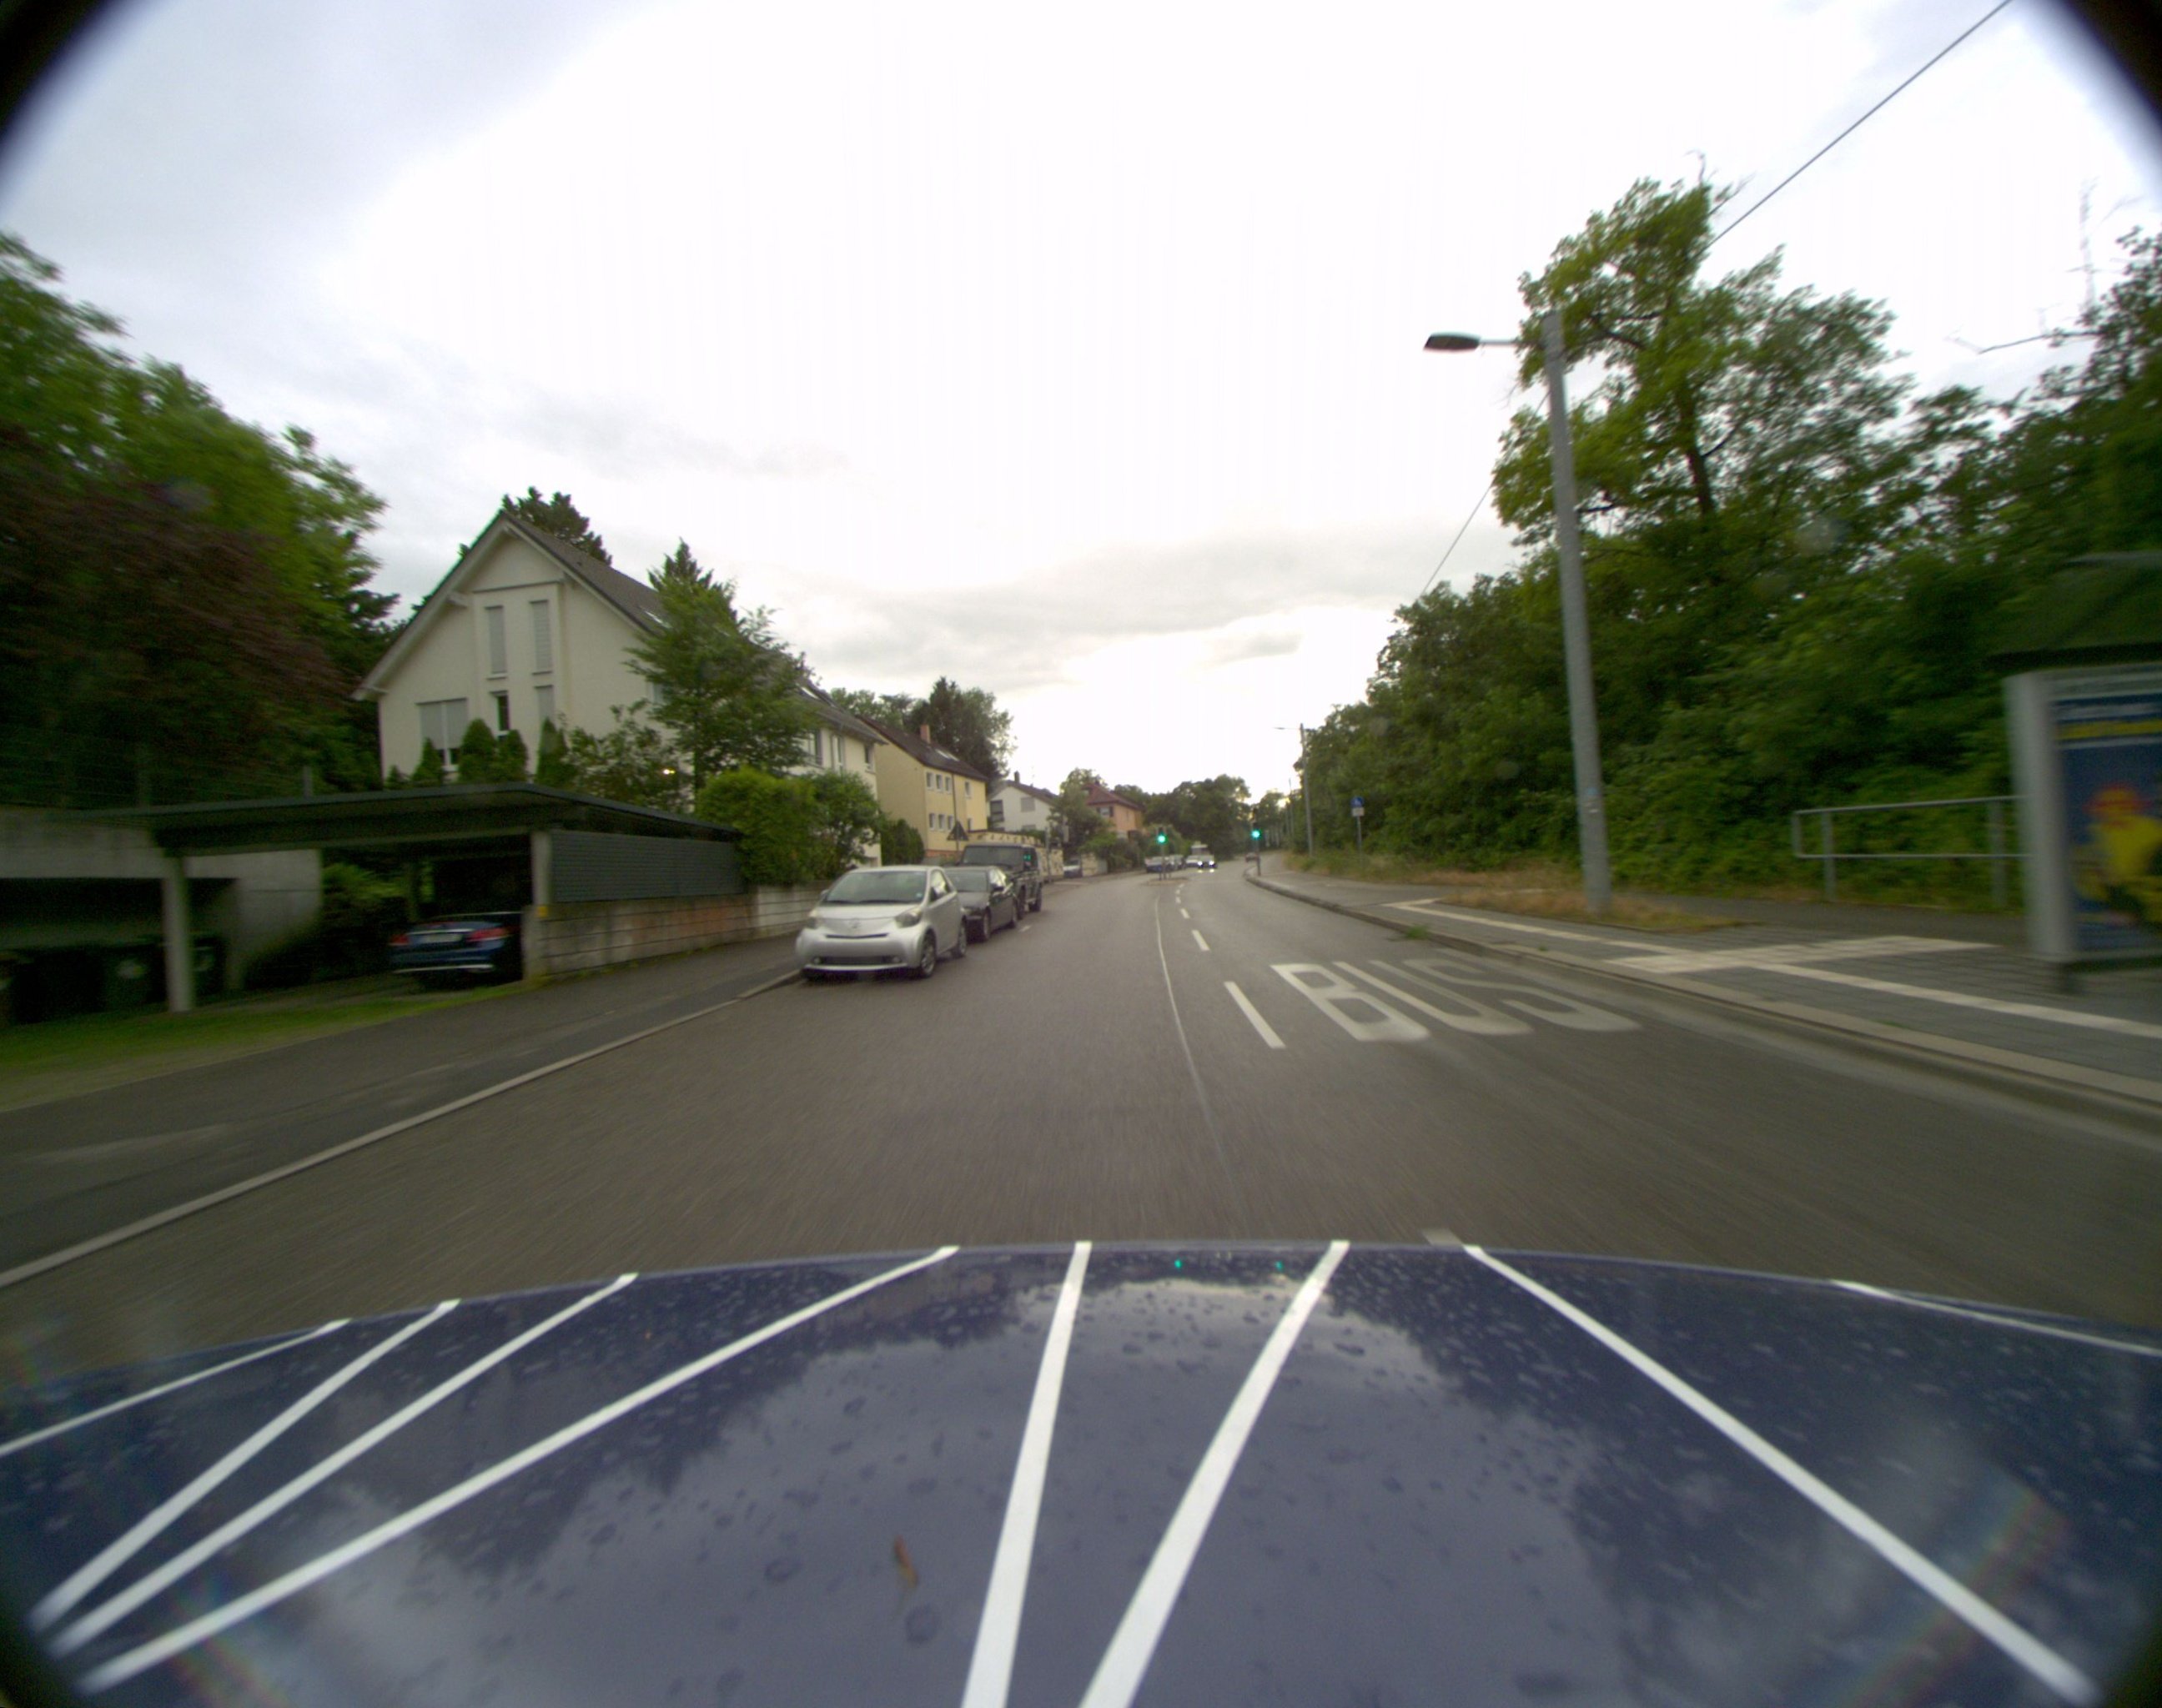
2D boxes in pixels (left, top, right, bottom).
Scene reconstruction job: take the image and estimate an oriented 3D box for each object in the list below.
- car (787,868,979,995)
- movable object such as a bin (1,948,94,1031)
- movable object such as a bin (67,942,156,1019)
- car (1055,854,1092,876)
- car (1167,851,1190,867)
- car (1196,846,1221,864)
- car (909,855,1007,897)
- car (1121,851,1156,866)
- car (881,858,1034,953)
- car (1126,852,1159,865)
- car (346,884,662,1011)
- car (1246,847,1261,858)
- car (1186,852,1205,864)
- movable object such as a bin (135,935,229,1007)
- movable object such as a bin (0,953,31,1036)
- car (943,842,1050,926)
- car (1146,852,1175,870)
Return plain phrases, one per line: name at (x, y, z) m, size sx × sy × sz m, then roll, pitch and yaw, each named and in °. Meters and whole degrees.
car at (-2.694, 1.006, 11.137) m, size 1.676 × 1.449 × 3.386 m, roll -2°, pitch 0°, yaw 4°
movable object such as a bin at (-14.106, 1.831, 10.386) m, size 0.424 × 1.017 × 0.573 m, roll -3°, pitch 1°, yaw 2°
movable object such as a bin at (-14.177, 1.836, 11.127) m, size 0.506 × 1.017 × 0.573 m, roll -3°, pitch 1°, yaw 2°
car at (-0.569, 0.913, 65.209) m, size 1.935 × 1.587 × 4.346 m, roll -4°, pitch 1°, yaw 16°
car at (10.354, 0.502, 80.665) m, size 1.732 × 1.558 × 4.527 m, roll -2°, pitch 0°, yaw 16°
car at (13.273, 0.095, 78.812) m, size 1.996 × 1.714 × 4.005 m, roll -2°, pitch 0°, yaw 17°
car at (-6.128, 1.081, 38.159) m, size 4.337 × 1.586 × 1.993 m, roll -6°, pitch 0°, yaw 7°
car at (6.651, 0.501, 87.993) m, size 3.663 × 1.557 × 1.884 m, roll -1°, pitch 1°, yaw 15°
car at (-2.318, 0.917, 15.545) m, size 1.935 × 1.587 × 4.396 m, roll -1°, pitch 1°, yaw 7°
car at (7.399, 0.475, 90.900) m, size 3.663 × 1.527 × 1.830 m, roll 0°, pitch 1°, yaw 13°
car at (-8.717, 1.314, 12.020) m, size 1.739 × 1.388 × 4.000 m, roll -5°, pitch 0°, yaw 2°
car at (25.675, -0.271, 113.020) m, size 1.746 × 1.451 × 4.418 m, roll -3°, pitch 0°, yaw 16°
car at (14.515, 0.499, 96.194) m, size 1.815 × 1.390 × 4.107 m, roll -3°, pitch 1°, yaw 16°
movable object such as a bin at (-14.242, 1.841, 12.053) m, size 0.644 × 1.017 × 0.673 m, roll -3°, pitch 1°, yaw 2°
movable object such as a bin at (-14.087, 1.829, 9.734) m, size 0.424 × 1.017 × 0.573 m, roll -3°, pitch 1°, yaw 2°
car at (-2.127, 0.706, 20.618) m, size 1.998 × 2.002 × 4.957 m, roll -1°, pitch 0°, yaw 4°
car at (7.273, 0.607, 69.202) m, size 1.754 × 1.435 × 4.605 m, roll -3°, pitch 1°, yaw 15°
